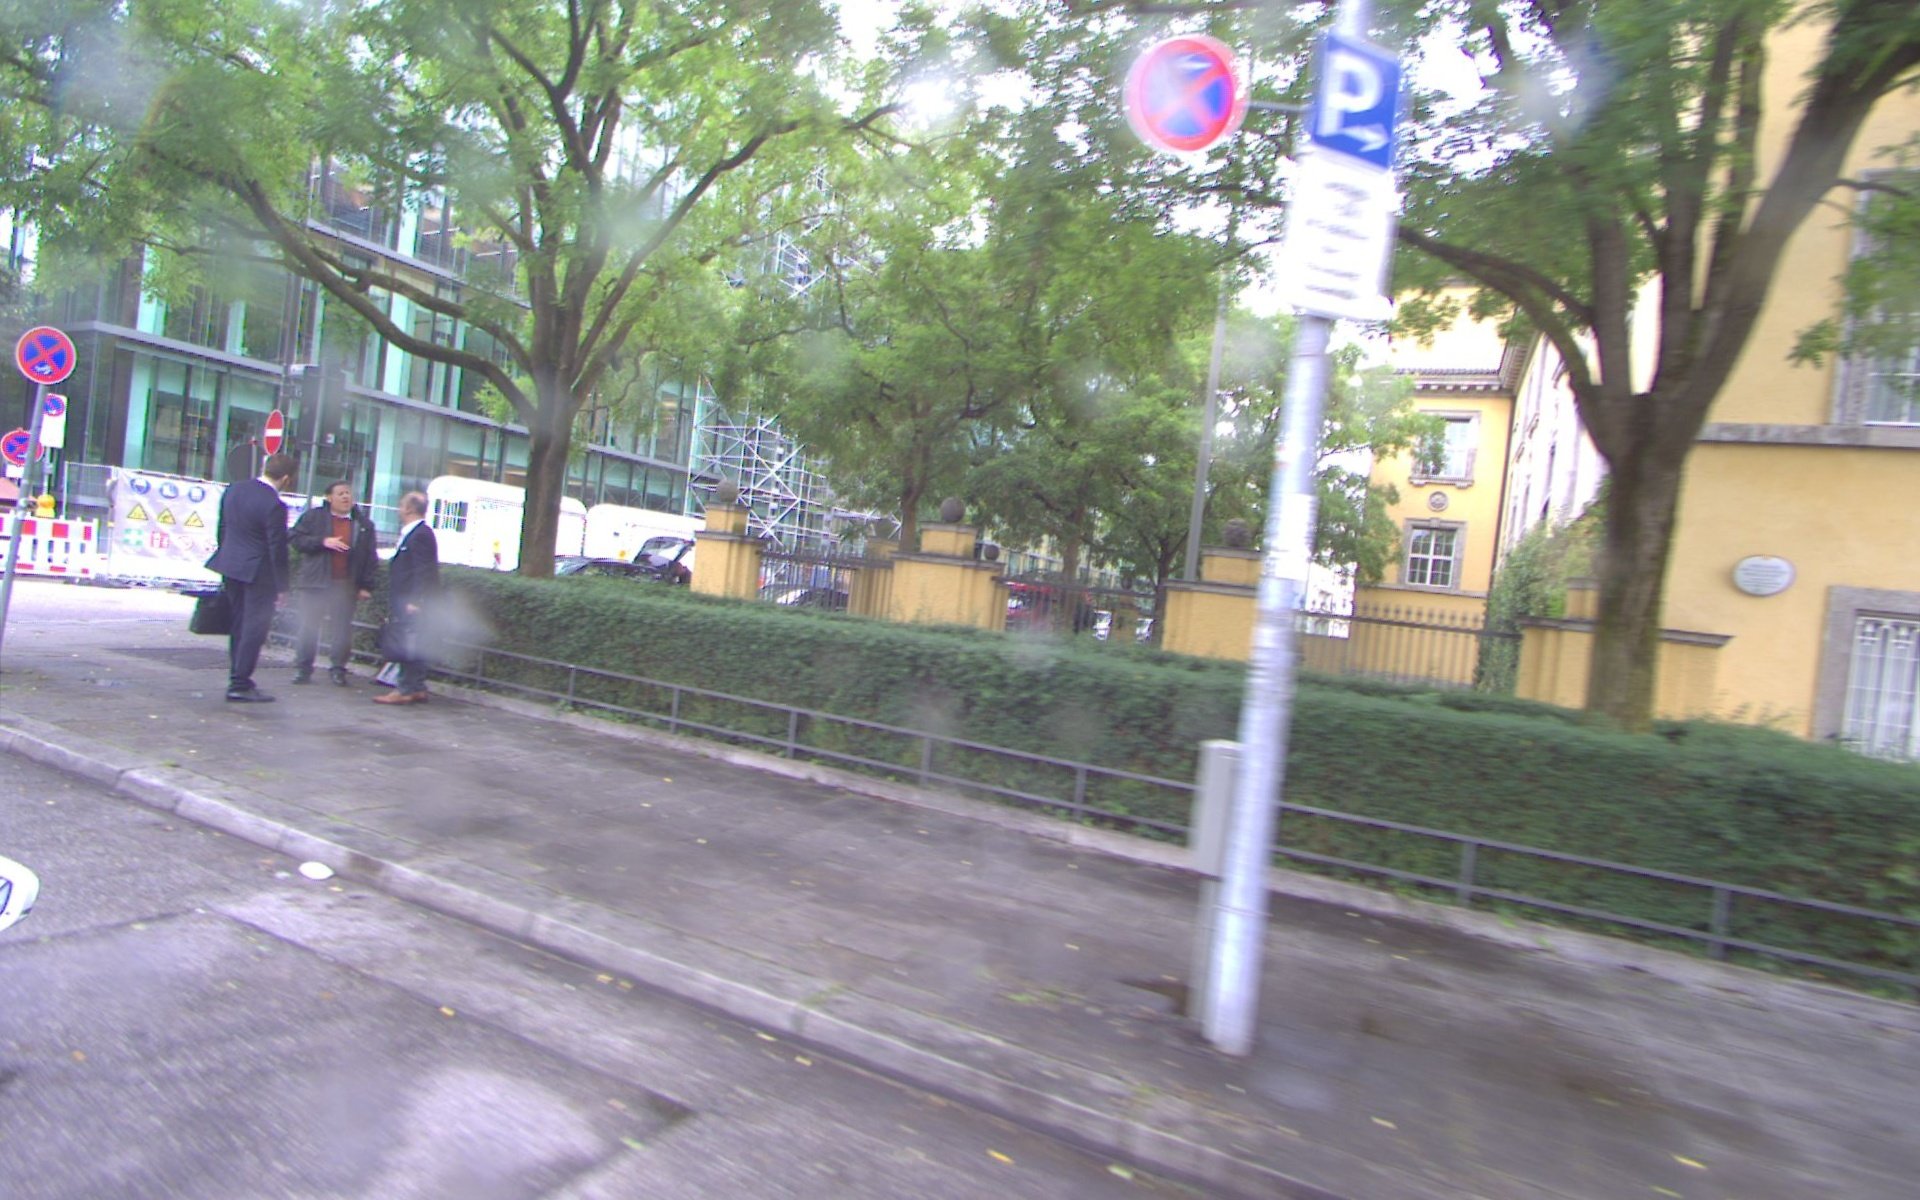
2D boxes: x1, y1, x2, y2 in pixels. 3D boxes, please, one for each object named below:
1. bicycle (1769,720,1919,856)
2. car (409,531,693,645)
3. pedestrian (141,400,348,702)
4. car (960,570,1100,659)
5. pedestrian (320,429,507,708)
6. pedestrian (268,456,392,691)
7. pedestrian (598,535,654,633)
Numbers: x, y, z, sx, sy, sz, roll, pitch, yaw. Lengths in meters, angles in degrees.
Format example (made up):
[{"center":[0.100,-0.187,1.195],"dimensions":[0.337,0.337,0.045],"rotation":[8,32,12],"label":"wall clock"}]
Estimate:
[{"center":[9.717,1.997,10.430],"dimensions":[1.867,1.169,0.543],"rotation":[8,2,24],"label":"bicycle"},{"center":[-6.889,-0.132,17.403],"dimensions":[1.837,1.504,4.211],"rotation":[6,0,30],"label":"car"},{"center":[-5.553,-0.372,7.819],"dimensions":[1.037,2.162,0.744],"rotation":[7,2,25],"label":"pedestrian"},{"center":[2.459,0.569,33.430],"dimensions":[2.118,2.492,5.685],"rotation":[6,0,31],"label":"car"},{"center":[-4.587,-0.266,8.461],"dimensions":[1.037,2.162,0.744],"rotation":[7,2,25],"label":"pedestrian"},{"center":[-5.634,-0.234,9.058],"dimensions":[0.736,1.932,1.048],"rotation":[6,2,-29],"label":"pedestrian"},{"center":[-6.603,-0.308,19.901],"dimensions":[0.672,1.833,0.672],"rotation":[6,2,7],"label":"pedestrian"}]
